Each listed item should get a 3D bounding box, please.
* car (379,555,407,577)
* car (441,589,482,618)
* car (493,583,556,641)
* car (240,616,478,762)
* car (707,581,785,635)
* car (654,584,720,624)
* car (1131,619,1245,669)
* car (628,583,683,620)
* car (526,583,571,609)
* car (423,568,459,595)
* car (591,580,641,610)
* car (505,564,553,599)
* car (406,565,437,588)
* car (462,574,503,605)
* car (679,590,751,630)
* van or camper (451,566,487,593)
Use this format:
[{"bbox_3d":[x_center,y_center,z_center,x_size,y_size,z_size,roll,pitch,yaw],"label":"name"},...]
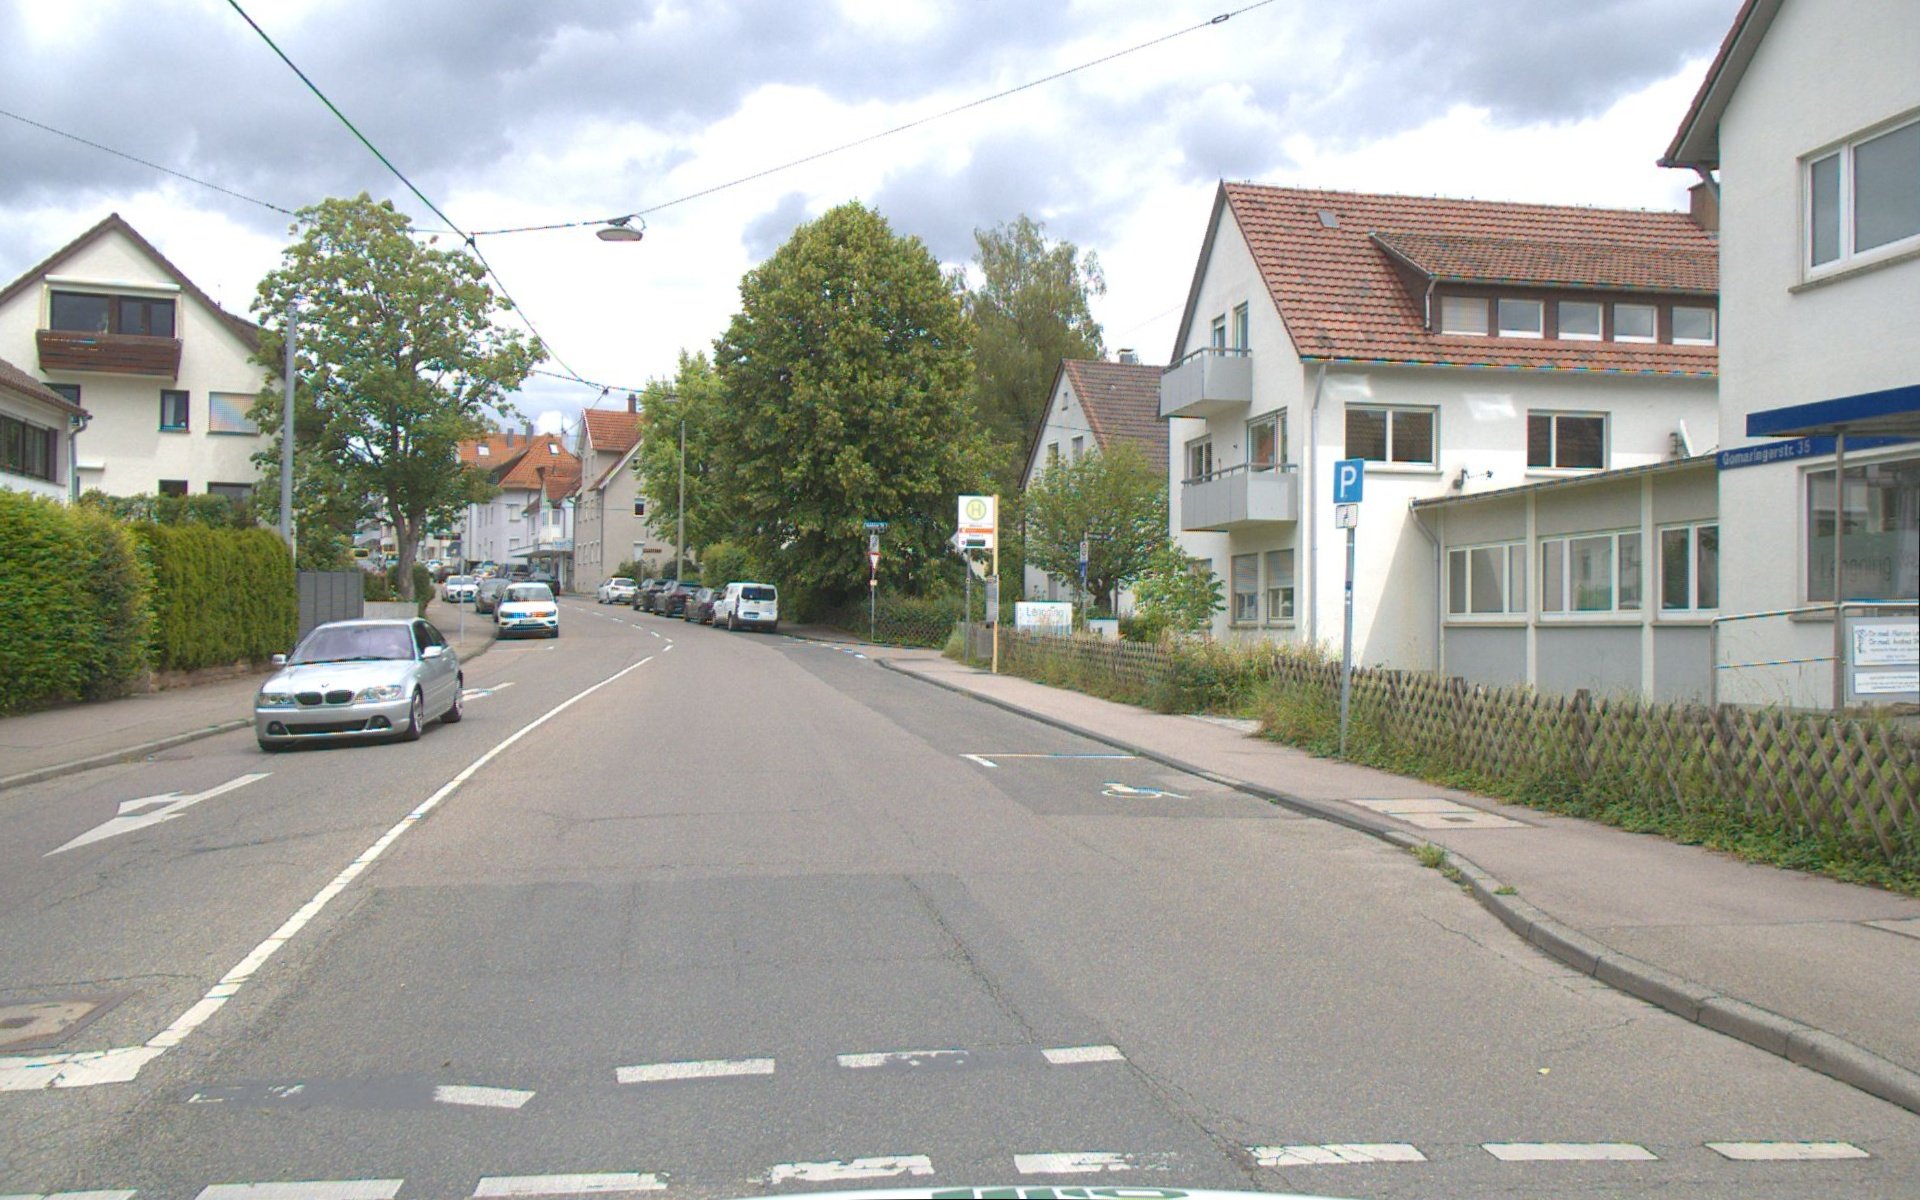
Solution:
[{"bbox_3d":[-57.798,-3.466,168.688,2.126,2.049,3.966,3,0,-27],"label":"car"},{"bbox_3d":[-27.316,0.183,90.613,1.703,1.483,3.871,-3,2,-23],"label":"car"},{"bbox_3d":[-13.853,0.353,52.552,1.819,1.744,4.556,-1,1,-15],"label":"car"},{"bbox_3d":[-6.970,0.961,19.600,1.681,1.377,4.076,-4,0,-7],"label":"car"},{"bbox_3d":[-8.162,0.287,62.851,1.813,1.805,4.288,4,0,-23],"label":"car"},{"bbox_3d":[-12.284,0.172,74.226,1.965,1.643,4.511,3,0,-21],"label":"car"},{"bbox_3d":[8.056,1.558,58.318,3.649,1.591,1.674,3,-2,-25],"label":"car"},{"bbox_3d":[-14.679,0.042,79.564,1.785,1.643,4.511,3,0,-21],"label":"car"},{"bbox_3d":[-28.257,-0.291,113.466,1.969,1.544,4.852,3,0,-26],"label":"car"},{"bbox_3d":[-42.276,-1.513,134.580,2.126,2.049,3.966,3,0,-27],"label":"car"},{"bbox_3d":[-18.765,-0.303,90.125,1.914,1.464,3.973,2,1,-23],"label":"car"},{"bbox_3d":[-27.326,-1.168,104.787,2.126,2.049,3.966,3,0,-27],"label":"car"},{"bbox_3d":[-49.702,-2.179,152.600,2.126,2.049,3.966,3,0,-27],"label":"car"},{"bbox_3d":[-34.512,-0.785,119.528,2.126,2.049,3.966,3,0,-27],"label":"car"},{"bbox_3d":[-10.093,0.397,67.876,1.965,1.504,4.591,1,0,-21],"label":"car"},{"bbox_3d":[-42.047,-1.794,141.435,1.969,2.101,5.897,4,0,-25],"label":"van or camper"}]
